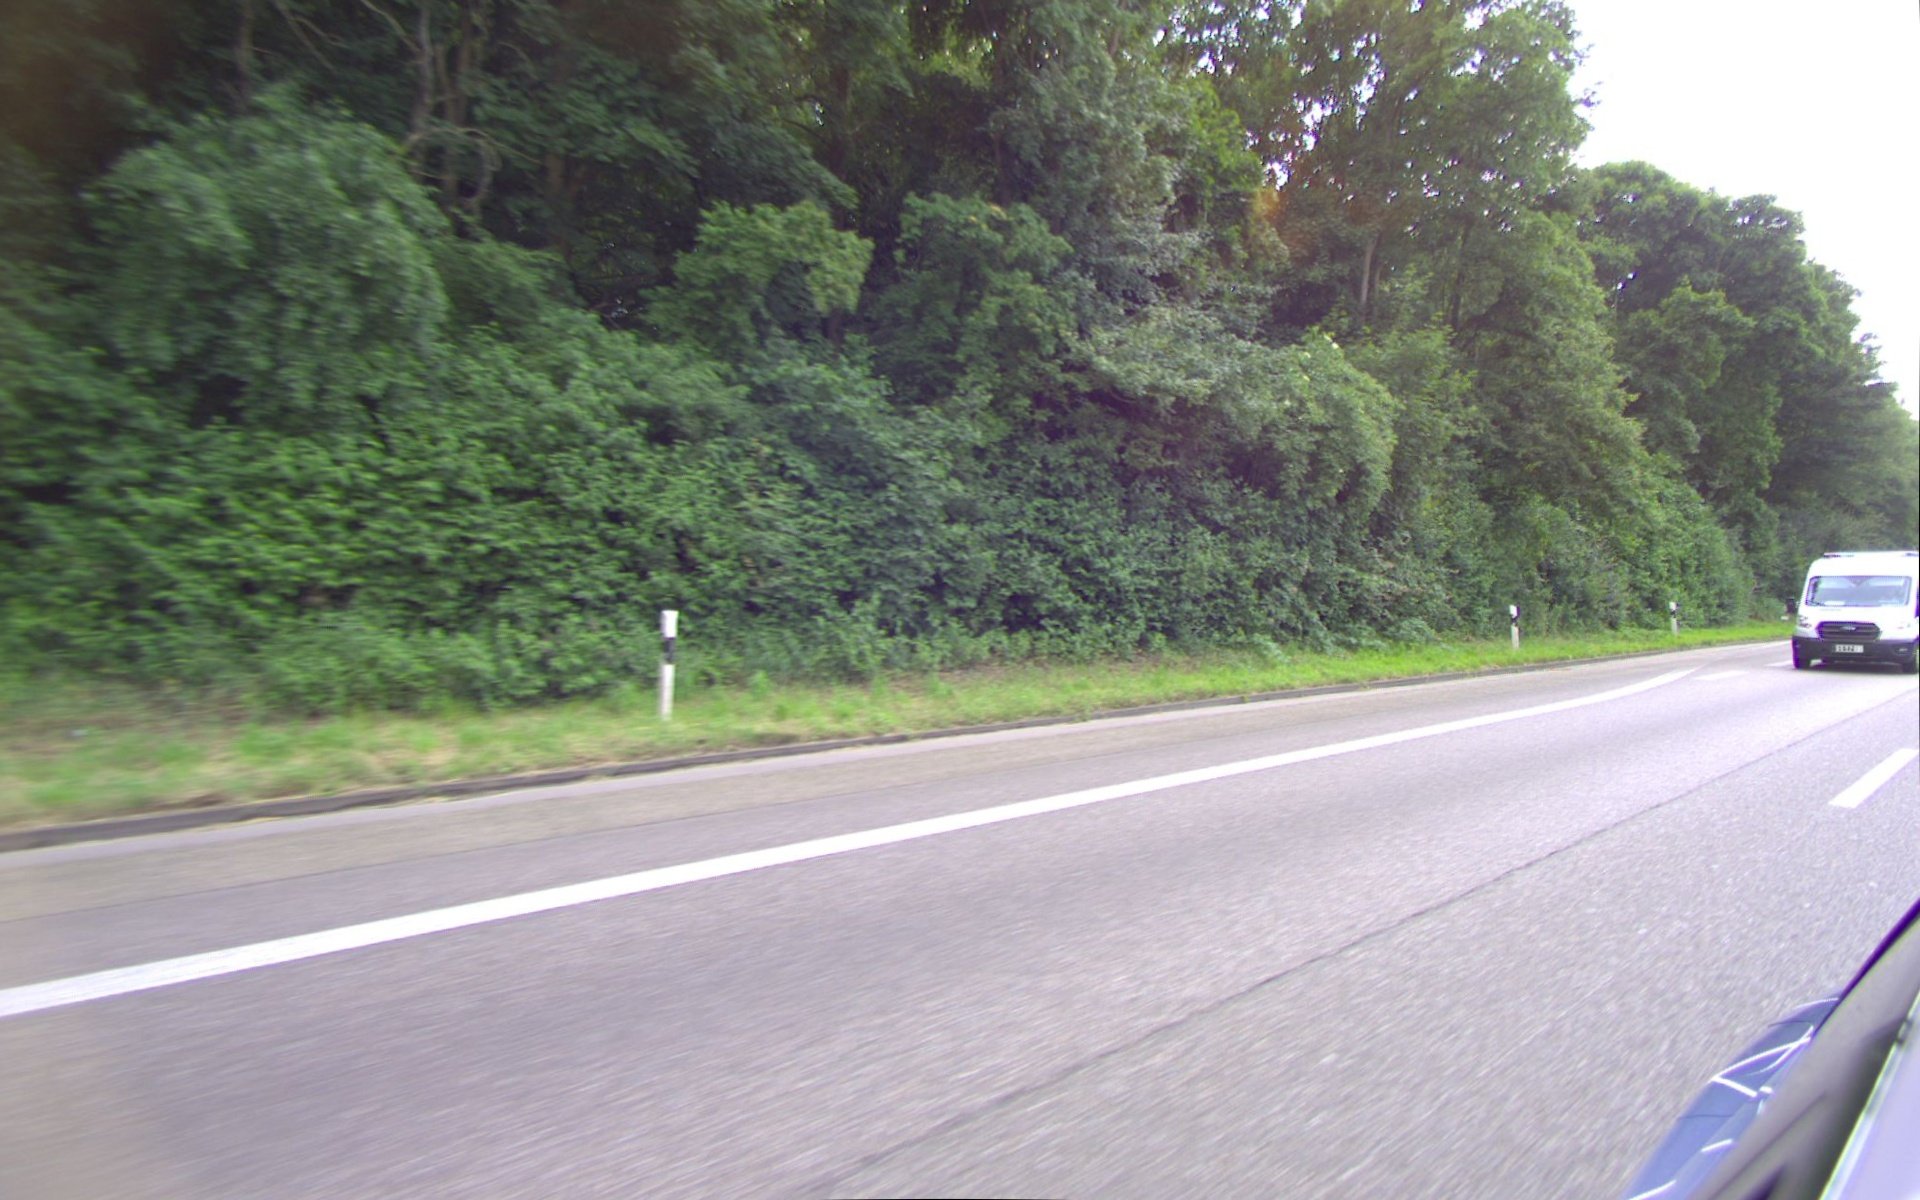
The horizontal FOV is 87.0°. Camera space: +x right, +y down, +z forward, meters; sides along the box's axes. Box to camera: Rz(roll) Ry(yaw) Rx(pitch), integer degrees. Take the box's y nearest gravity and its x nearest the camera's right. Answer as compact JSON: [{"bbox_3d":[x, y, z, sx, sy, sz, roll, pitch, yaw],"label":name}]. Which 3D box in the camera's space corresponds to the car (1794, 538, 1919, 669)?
[{"bbox_3d":[20.021,0.045,21.985,5.186,2.539,2.102,0,0,-41],"label":"car"}]
